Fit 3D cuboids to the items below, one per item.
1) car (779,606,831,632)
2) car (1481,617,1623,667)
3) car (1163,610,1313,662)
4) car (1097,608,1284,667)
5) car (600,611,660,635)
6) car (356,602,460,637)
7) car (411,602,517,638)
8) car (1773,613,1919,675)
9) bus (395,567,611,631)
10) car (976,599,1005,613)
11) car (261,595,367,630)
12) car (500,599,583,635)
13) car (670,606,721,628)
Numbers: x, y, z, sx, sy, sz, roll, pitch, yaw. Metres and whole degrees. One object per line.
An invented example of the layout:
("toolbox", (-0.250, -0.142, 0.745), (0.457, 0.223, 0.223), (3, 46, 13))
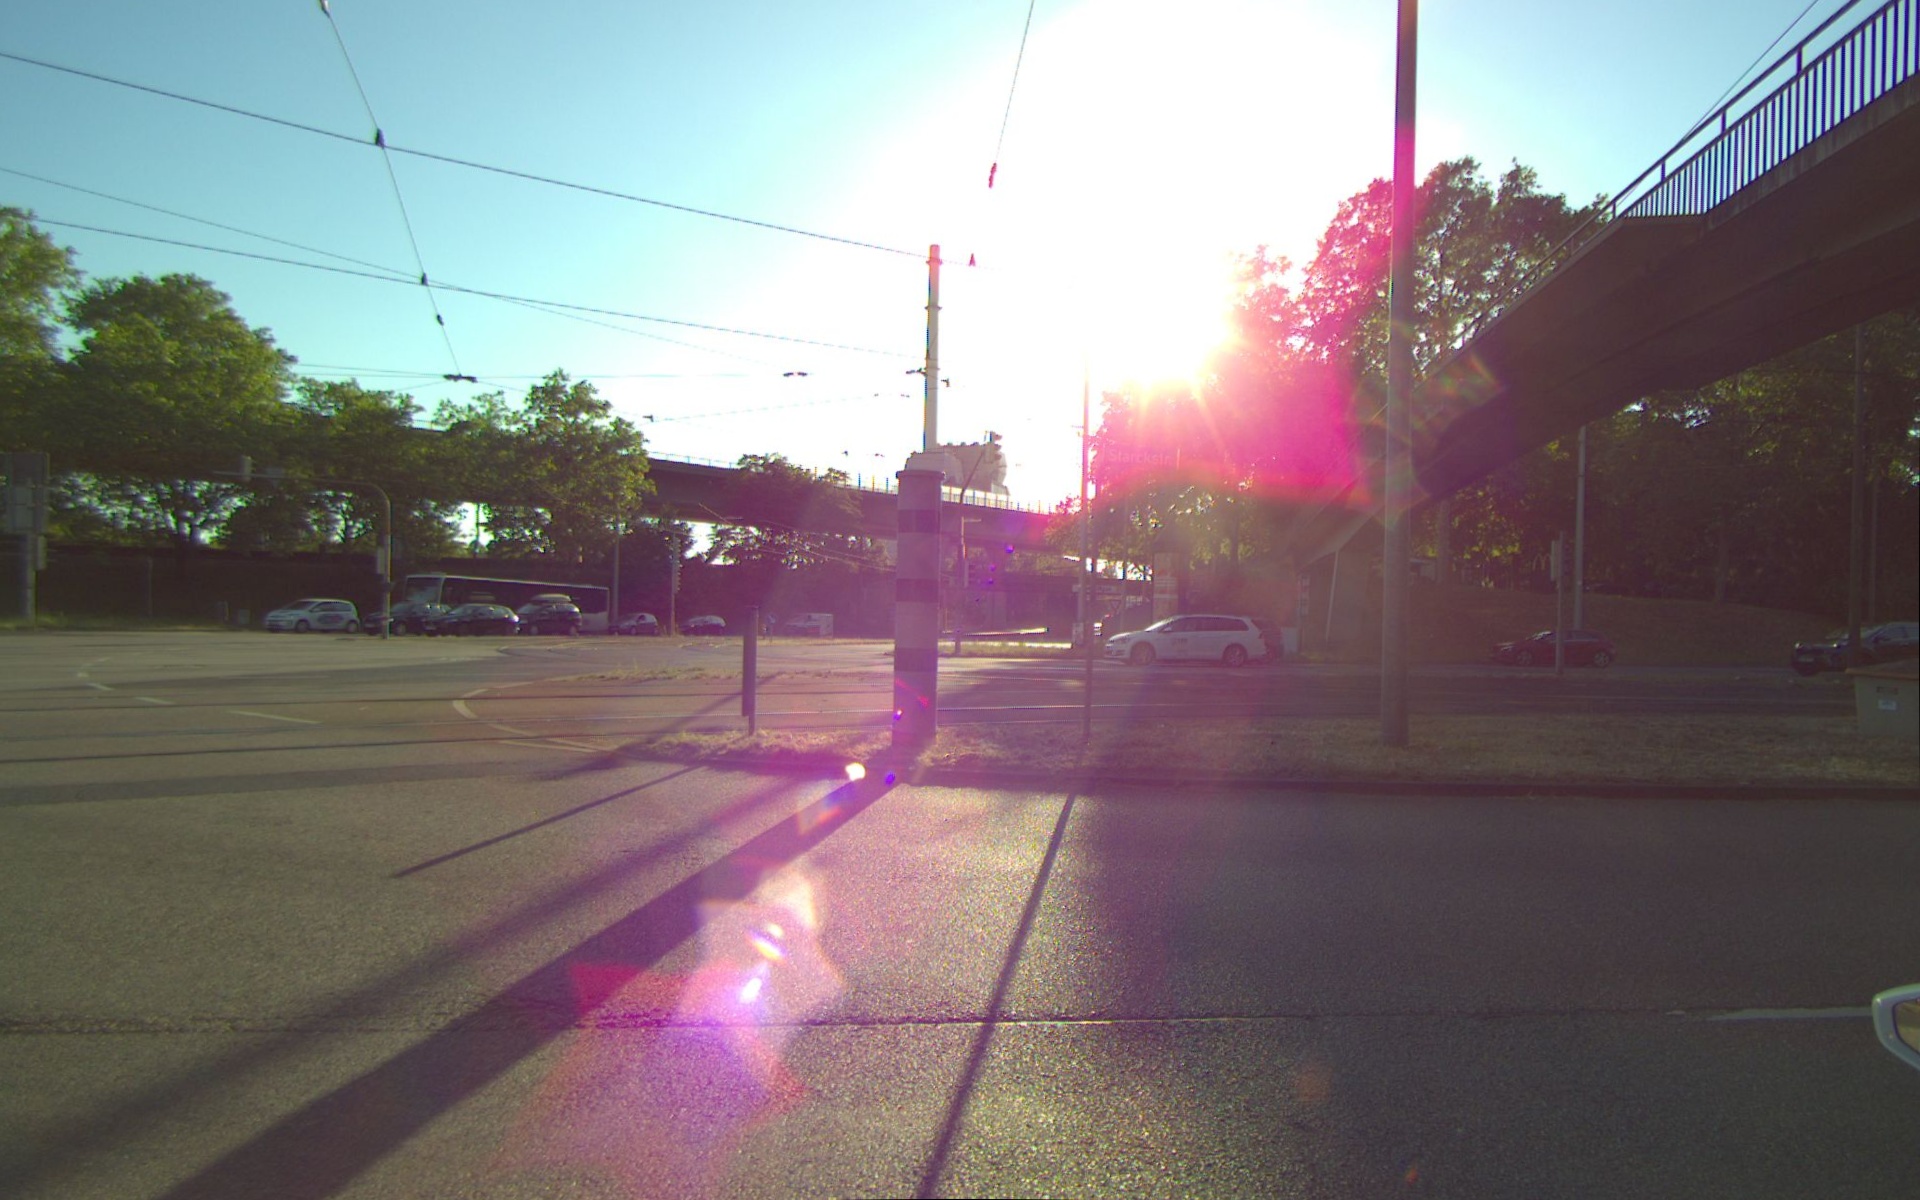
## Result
("car", (-13.095, 1.616, 85.258), (1.961, 2.040, 5.425), (2, 0, 21))
("car", (22.488, 1.568, 38.317), (4.269, 1.673, 1.797), (2, 0, 6))
("car", (8.886, 1.145, 32.346), (4.172, 1.463, 2.010), (2, 0, -5))
("car", (6.460, 1.038, 28.469), (4.768, 1.463, 2.010), (2, 0, -5))
("car", (-21.298, 1.492, 64.975), (1.671, 1.461, 4.002), (2, 0, 16))
("car", (-23.671, 0.827, 43.227), (1.577, 1.372, 4.002), (2, 0, 13))
("car", (-21.033, 0.840, 42.785), (1.682, 1.372, 4.097), (2, 0, 16))
("car", (27.180, 1.308, 30.105), (4.274, 1.673, 1.795), (2, 0, -5))
("bus", (-24.237, 0.045, 54.671), (2.775, 2.993, 12.857), (2, 0, 17))
("car", (4.411, 0.934, 145.798), (3.972, 1.794, 1.975), (4, -1, -43))
("car", (-27.720, 0.546, 43.215), (1.577, 1.372, 3.736), (2, 0, 13))
("car", (-21.345, 0.864, 51.360), (1.682, 1.674, 4.097), (2, 0, 16))
("car", (-18.725, 1.226, 71.291), (1.671, 1.461, 4.002), (2, 0, 16))
